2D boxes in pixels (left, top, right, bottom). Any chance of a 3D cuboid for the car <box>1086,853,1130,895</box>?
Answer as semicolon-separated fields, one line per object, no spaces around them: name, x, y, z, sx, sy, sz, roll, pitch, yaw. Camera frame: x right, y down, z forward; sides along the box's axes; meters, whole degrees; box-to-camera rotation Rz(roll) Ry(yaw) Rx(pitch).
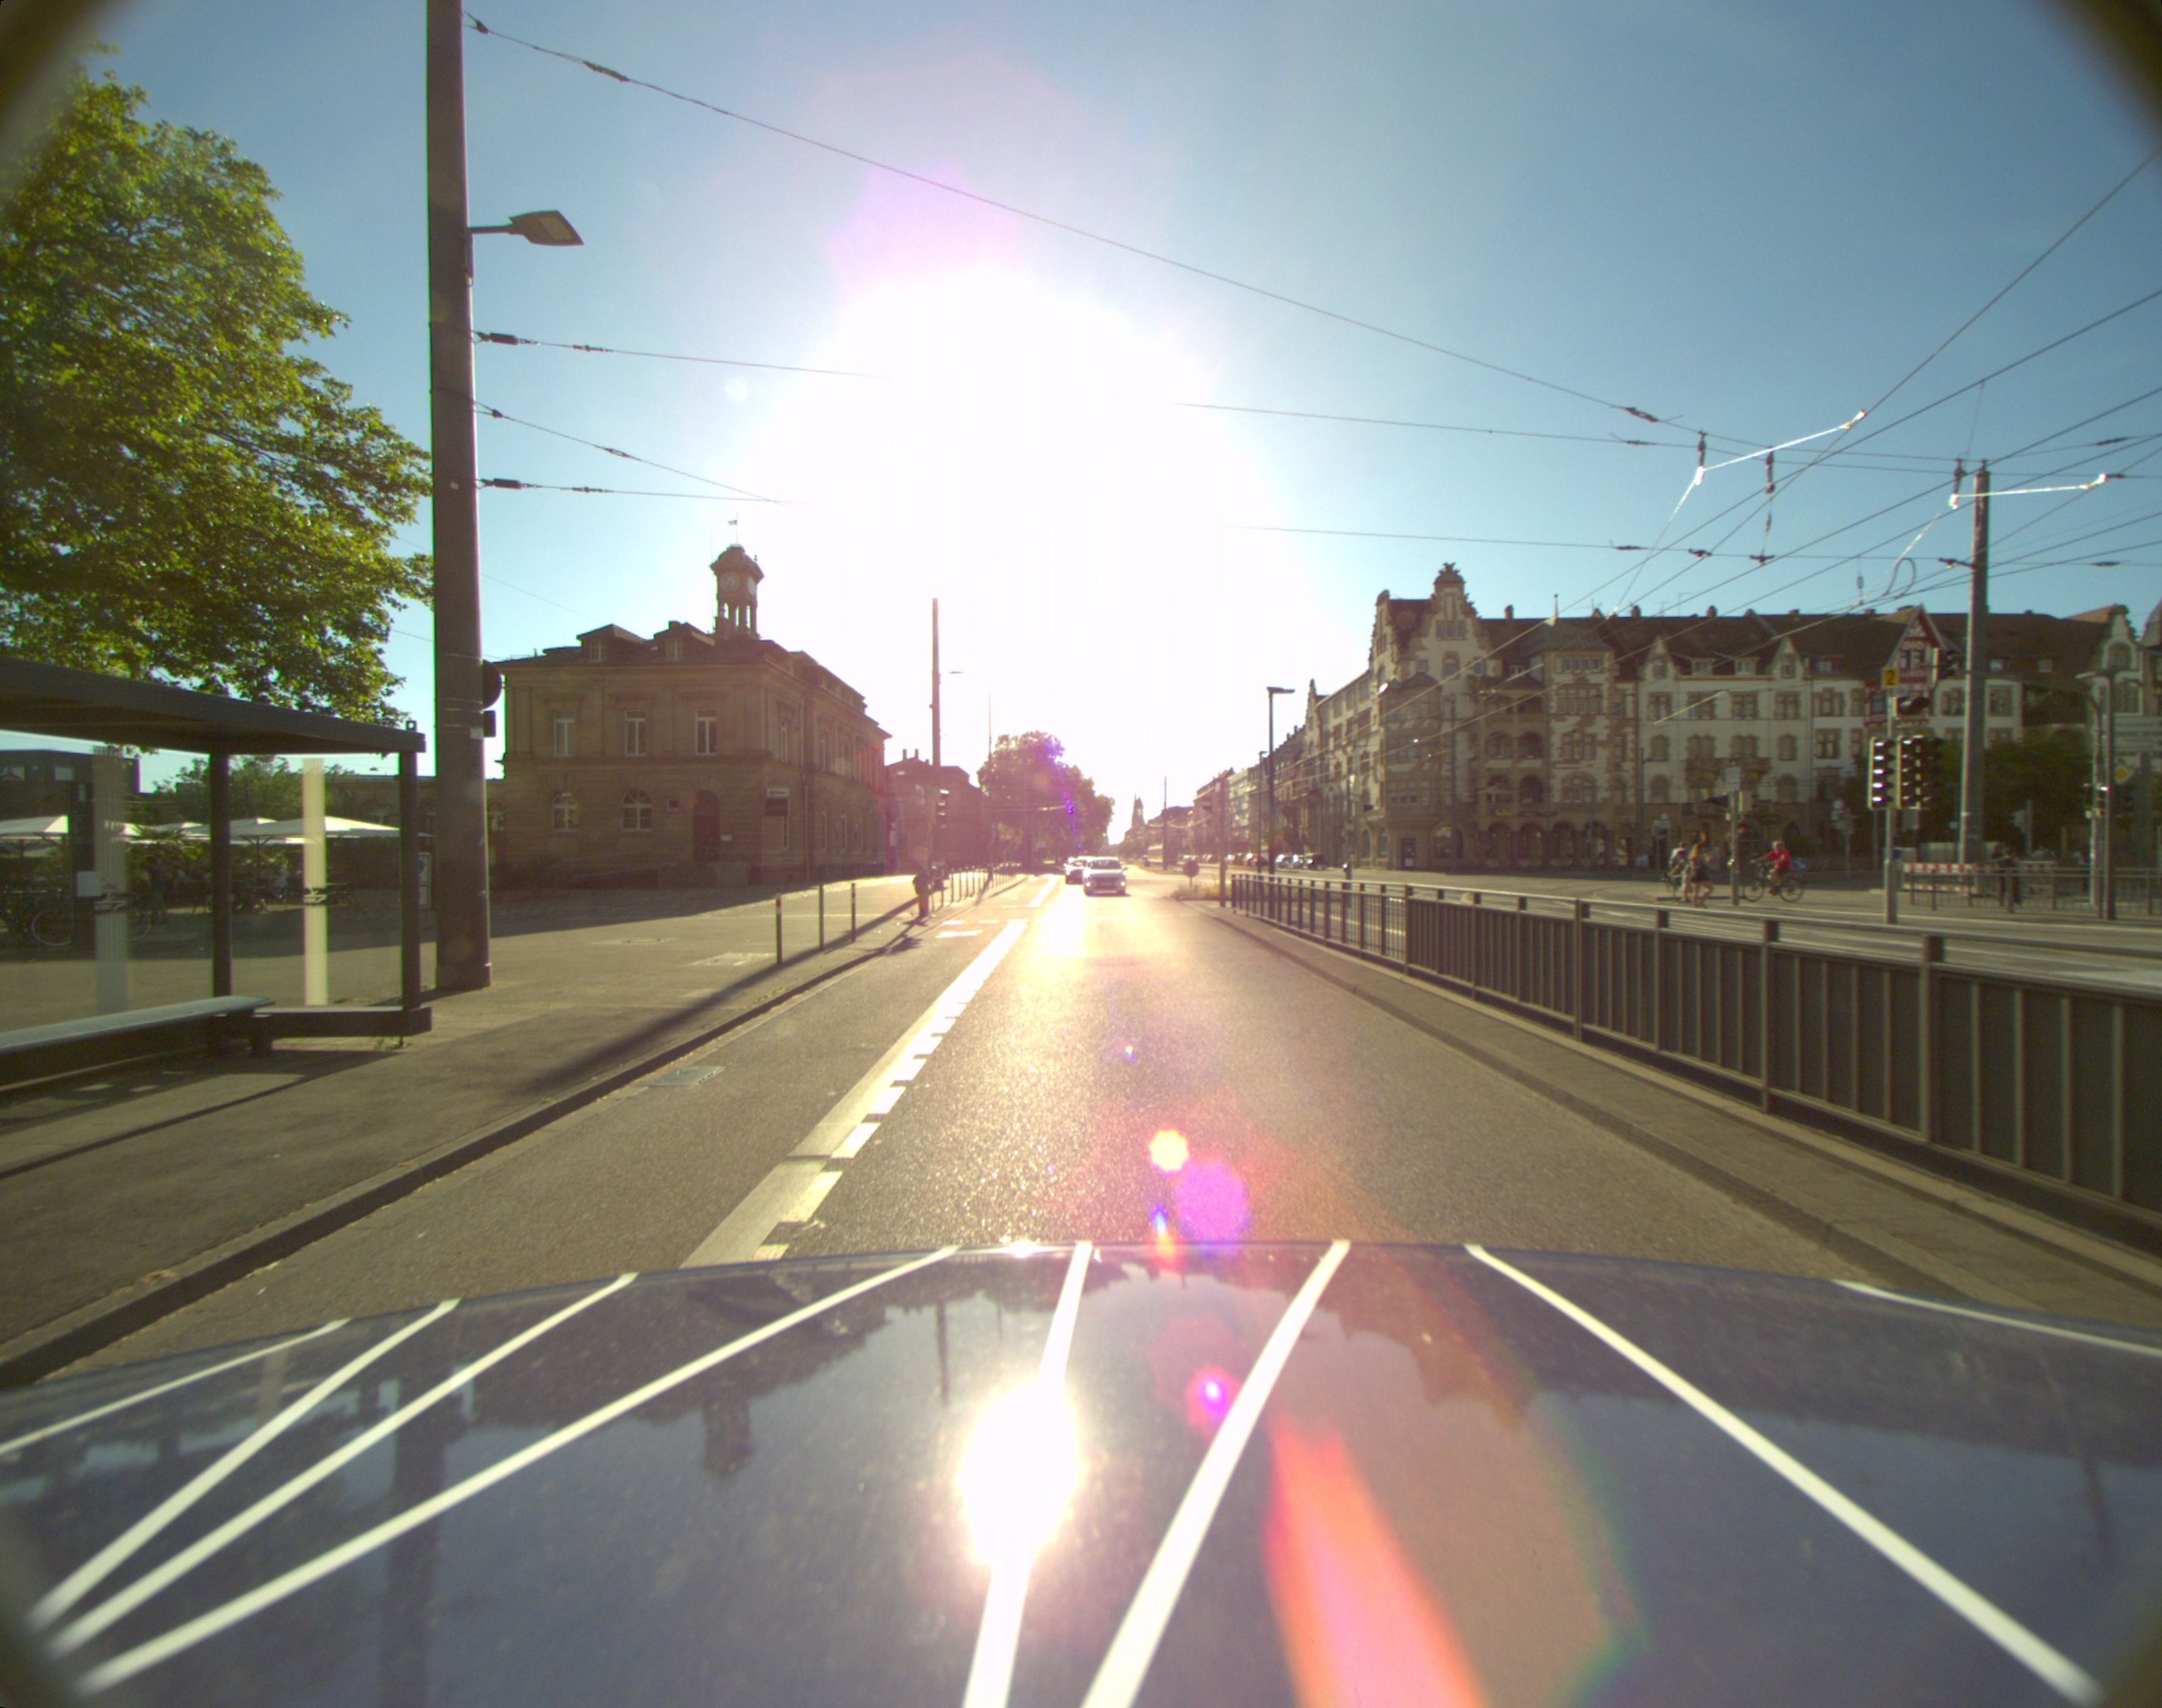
car;1.076;0.764;31.126;1.649;1.555;3.666;-1;1;1

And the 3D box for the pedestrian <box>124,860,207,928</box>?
pedestrian;-24.866;1.064;20.663;0.999;1.778;1.036;1;1;-10

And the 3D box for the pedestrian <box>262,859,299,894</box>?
pedestrian;-33.659;0.943;31.970;0.839;1.458;0.664;1;1;-2

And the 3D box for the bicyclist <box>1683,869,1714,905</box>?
bicyclist;17.225;0.924;21.200;0.462;0.987;0.511;0;1;11

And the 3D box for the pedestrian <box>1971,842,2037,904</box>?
pedestrian;24.890;0.503;20.500;0.933;1.635;0.795;-1;1;-12

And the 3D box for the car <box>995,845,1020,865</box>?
car;-7.693;0.085;79.785;1.833;2.035;4.001;-1;1;4

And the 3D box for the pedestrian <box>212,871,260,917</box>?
pedestrian;-26.981;1.278;24.271;0.673;1.368;0.654;-6;0;10

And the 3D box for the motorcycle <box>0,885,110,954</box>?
motorcycle;-18.474;1.138;13.280;2.080;1.096;0.887;-1;1;8

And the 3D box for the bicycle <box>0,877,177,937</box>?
bicycle;-23.707;1.250;18.202;2.669;1.271;0.781;-1;1;-12

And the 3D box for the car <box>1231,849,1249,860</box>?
car;23.309;0.072;111.521;1.741;1.516;4.000;-2;0;1

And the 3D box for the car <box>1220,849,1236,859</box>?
car;23.454;-0.077;121.577;1.741;1.516;4.000;-2;0;1

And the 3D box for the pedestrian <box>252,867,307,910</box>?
pedestrian;-26.710;1.136;25.331;0.772;1.371;1.000;1;1;13

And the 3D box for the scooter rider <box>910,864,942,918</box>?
scooter rider;-4.103;0.967;20.199;0.703;1.389;0.600;-1;1;1

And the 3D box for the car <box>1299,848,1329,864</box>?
car;23.725;0.194;77.554;1.780;1.660;3.999;0;0;-1

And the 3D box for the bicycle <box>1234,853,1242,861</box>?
bicycle;21.315;0.424;102.967;0.607;0.996;2.068;0;0;-2

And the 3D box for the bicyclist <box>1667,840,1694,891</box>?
bicyclist;21.458;0.410;27.204;0.669;1.797;0.645;-1;1;-40

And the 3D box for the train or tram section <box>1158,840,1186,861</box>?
train or tram section;15.712;-0.566;133.143;2.781;3.378;19.475;-1;0;1

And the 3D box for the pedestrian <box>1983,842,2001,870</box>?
pedestrian;54.936;0.099;45.823;0.618;1.672;0.581;-1;1;-32

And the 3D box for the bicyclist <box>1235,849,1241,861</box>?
bicyclist;21.317;0.099;103.036;0.683;1.609;0.630;0;1;-1

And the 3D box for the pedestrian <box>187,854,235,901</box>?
pedestrian;-33.229;0.894;29.024;1.001;1.734;1.034;1;1;-36

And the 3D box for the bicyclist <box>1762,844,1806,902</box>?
bicyclist;19.889;0.521;21.512;0.629;1.609;0.684;0;1;9

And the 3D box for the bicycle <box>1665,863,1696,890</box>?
bicycle;21.556;0.781;27.305;1.893;0.906;0.512;-1;1;-40

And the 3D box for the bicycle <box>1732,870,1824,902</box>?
bicycle;19.767;0.896;21.581;1.888;0.873;0.608;0;1;9

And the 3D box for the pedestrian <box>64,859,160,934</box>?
pedestrian;-23.490;1.013;18.451;0.999;1.734;1.036;1;1;-10

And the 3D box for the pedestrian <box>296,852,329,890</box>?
pedestrian;-35.702;0.774;35.299;0.839;1.734;0.664;1;1;-3

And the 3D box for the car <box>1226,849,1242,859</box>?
car;23.518;-0.009;116.814;1.741;1.516;4.000;-2;0;1

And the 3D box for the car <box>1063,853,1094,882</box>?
car;-0.120;0.763;44.150;1.649;1.555;3.666;-1;1;1

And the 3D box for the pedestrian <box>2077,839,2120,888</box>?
pedestrian;34.921;0.329;26.080;0.616;1.672;0.639;0;1;-2

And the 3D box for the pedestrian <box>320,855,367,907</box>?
pedestrian;-25.910;0.928;26.702;1.039;1.735;0.996;-1;2;-38

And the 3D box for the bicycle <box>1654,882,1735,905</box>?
bicycle;17.127;1.098;21.235;1.724;0.605;0.512;-1;1;10

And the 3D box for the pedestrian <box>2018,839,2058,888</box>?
pedestrian;33.198;0.334;26.362;0.616;1.672;0.582;0;1;-1

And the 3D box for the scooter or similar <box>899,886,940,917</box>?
scooter or similar;-4.269;1.257;20.119;1.023;0.807;0.265;-1;1;1

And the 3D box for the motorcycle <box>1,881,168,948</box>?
motorcycle;-18.588;1.121;14.194;2.224;1.153;0.887;-1;1;8

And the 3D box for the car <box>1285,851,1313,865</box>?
car;23.731;0.422;82.860;1.727;1.467;4.432;0;0;-2

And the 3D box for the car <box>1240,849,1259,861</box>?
car;23.384;0.159;105.364;1.741;1.516;4.000;-2;0;1

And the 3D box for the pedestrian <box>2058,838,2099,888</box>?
pedestrian;34.208;0.304;26.061;0.616;1.672;0.582;0;1;-1

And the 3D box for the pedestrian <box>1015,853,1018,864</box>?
pedestrian;-9.207;0.646;108.729;0.364;1.635;0.390;0;1;2

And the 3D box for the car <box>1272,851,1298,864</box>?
car;23.650;0.399;88.262;1.741;1.516;3.998;-2;0;-4

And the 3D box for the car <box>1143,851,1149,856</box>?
car;21.866;-0.287;254.872;1.780;1.660;3.999;0;0;-1

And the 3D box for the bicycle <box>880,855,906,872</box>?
bicycle;-12.971;0.669;52.532;1.650;1.174;0.690;0;1;-1

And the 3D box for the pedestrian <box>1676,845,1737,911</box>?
pedestrian;15.941;0.586;19.392;0.933;1.635;0.795;-1;1;-12
